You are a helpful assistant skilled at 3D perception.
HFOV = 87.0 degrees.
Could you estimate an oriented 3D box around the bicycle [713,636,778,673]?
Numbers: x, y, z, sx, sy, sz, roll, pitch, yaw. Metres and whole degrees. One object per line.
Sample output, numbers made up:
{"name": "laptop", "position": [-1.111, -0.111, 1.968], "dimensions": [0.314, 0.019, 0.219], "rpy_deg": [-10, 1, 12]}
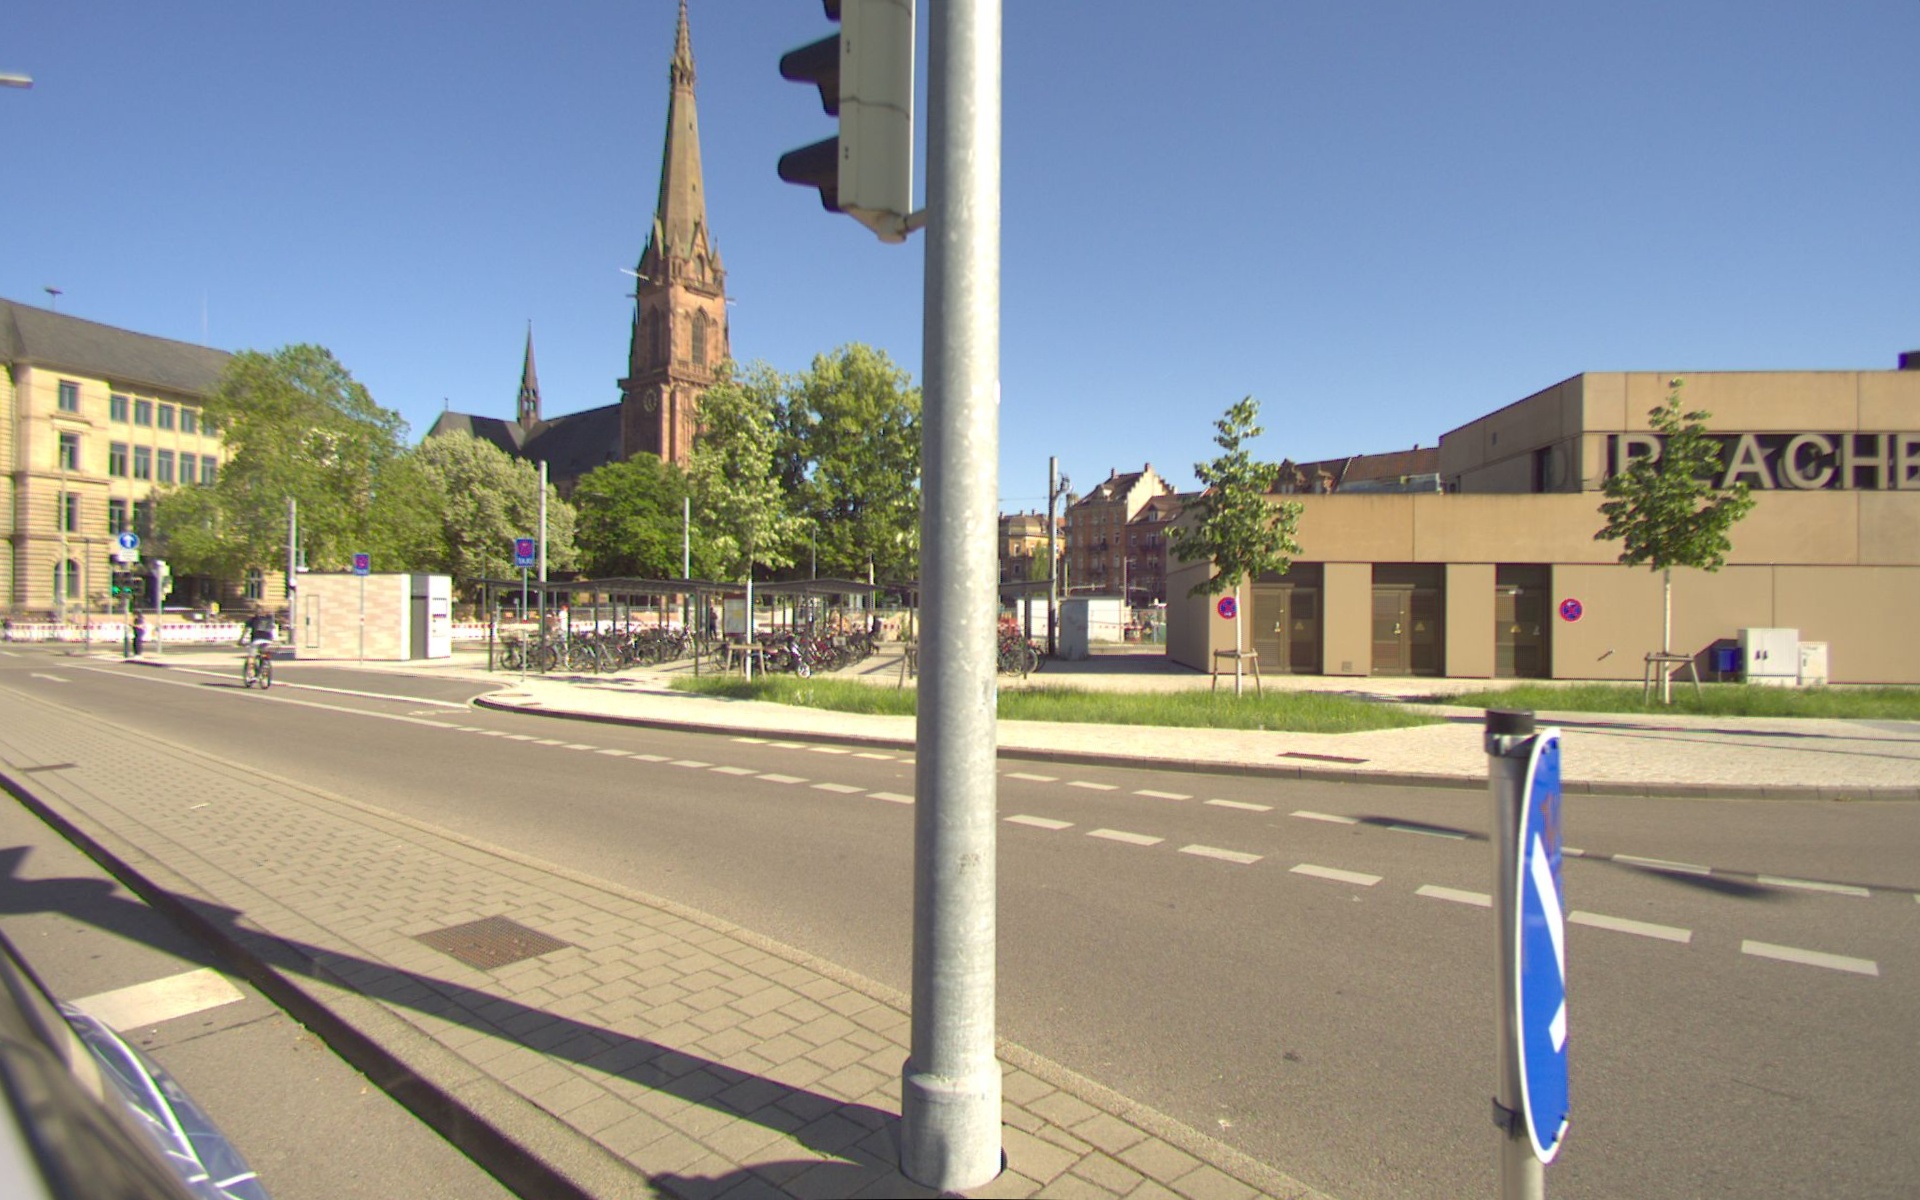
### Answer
{"name": "bicycle", "position": [-6.334, 1.598, 29.926], "dimensions": [1.764, 1.046, 0.567], "rpy_deg": [1, -2, 3]}

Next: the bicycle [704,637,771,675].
{"name": "bicycle", "position": [-6.285, 1.573, 28.638], "dimensions": [1.764, 1.046, 0.567], "rpy_deg": [1, -2, 3]}

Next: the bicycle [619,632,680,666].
{"name": "bicycle", "position": [-9.839, 1.539, 32.087], "dimensions": [1.764, 1.046, 0.567], "rpy_deg": [1, -2, 3]}

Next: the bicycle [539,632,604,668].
{"name": "bicycle", "position": [-11.970, 1.539, 31.206], "dimensions": [1.764, 1.046, 0.567], "rpy_deg": [1, -2, 3]}

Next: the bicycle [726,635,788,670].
{"name": "bicycle", "position": [-6.260, 1.615, 31.215], "dimensions": [1.764, 1.046, 0.567], "rpy_deg": [1, -2, 3]}

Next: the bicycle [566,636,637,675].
{"name": "bicycle", "position": [-10.049, 1.550, 28.377], "dimensions": [1.764, 1.046, 0.567], "rpy_deg": [1, -2, 3]}

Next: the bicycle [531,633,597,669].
{"name": "bicycle", "position": [-11.969, 1.544, 30.588], "dimensions": [1.764, 1.046, 0.567], "rpy_deg": [1, -2, 3]}

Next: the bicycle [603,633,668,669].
{"name": "bicycle", "position": [-9.883, 1.559, 30.845], "dimensions": [1.764, 1.046, 0.567], "rpy_deg": [1, -2, 3]}

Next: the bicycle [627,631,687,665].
{"name": "bicycle", "position": [-9.785, 1.539, 32.687], "dimensions": [1.764, 1.046, 0.567], "rpy_deg": [1, -2, 3]}

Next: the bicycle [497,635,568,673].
{"name": "bicycle", "position": [-12.032, 1.518, 28.512], "dimensions": [1.764, 1.046, 0.567], "rpy_deg": [1, -2, 3]}

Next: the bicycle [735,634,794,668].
{"name": "bicycle", "position": [-6.251, 1.630, 32.409], "dimensions": [1.764, 1.046, 0.567], "rpy_deg": [1, -2, 3]}

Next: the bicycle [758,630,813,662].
{"name": "bicycle", "position": [-5.979, 1.584, 34.774], "dimensions": [1.764, 1.046, 0.567], "rpy_deg": [1, -2, 3]}

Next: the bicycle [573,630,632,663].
{"name": "bicycle", "position": [-11.900, 1.552, 33.687], "dimensions": [1.764, 1.046, 0.567], "rpy_deg": [1, -2, 3]}

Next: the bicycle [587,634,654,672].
{"name": "bicycle", "position": [-9.934, 1.547, 29.630], "dimensions": [1.764, 1.046, 0.567], "rpy_deg": [1, -2, 3]}

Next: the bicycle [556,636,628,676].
{"name": "bicycle", "position": [-10.070, 1.533, 27.728], "dimensions": [1.764, 1.046, 0.567], "rpy_deg": [1, -2, 3]}

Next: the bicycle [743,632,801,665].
{"name": "bicycle", "position": [-6.168, 1.592, 33.281], "dimensions": [1.764, 1.046, 0.567], "rpy_deg": [1, -2, 3]}

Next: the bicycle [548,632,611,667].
{"name": "bicycle", "position": [-11.951, 1.543, 31.822], "dimensions": [1.764, 1.046, 0.567], "rpy_deg": [1, -2, 3]}

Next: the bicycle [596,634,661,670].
{"name": "bicycle", "position": [-9.893, 1.547, 30.230], "dimensions": [1.764, 1.046, 0.567], "rpy_deg": [1, -2, 3]}

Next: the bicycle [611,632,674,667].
{"name": "bicycle", "position": [-9.859, 1.527, 31.448], "dimensions": [1.764, 1.046, 0.567], "rpy_deg": [1, -2, 3]}

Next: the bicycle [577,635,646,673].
{"name": "bicycle", "position": [-9.990, 1.534, 29.020], "dimensions": [1.764, 1.046, 0.567], "rpy_deg": [1, -2, 3]}

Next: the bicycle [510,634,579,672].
{"name": "bicycle", "position": [-12.007, 1.528, 29.268], "dimensions": [1.764, 1.046, 0.567], "rpy_deg": [1, -2, 3]}

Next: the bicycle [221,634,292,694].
{"name": "bicycle", "position": [-14.833, 1.328, 21.323], "dimensions": [1.869, 1.174, 0.738], "rpy_deg": [-1, -3, 40]}

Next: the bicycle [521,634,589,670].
{"name": "bicycle", "position": [-11.979, 1.531, 29.956], "dimensions": [1.764, 1.046, 0.567], "rpy_deg": [1, -2, 3]}

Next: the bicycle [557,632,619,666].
{"name": "bicycle", "position": [-11.939, 1.576, 32.487], "dimensions": [1.764, 1.046, 0.567], "rpy_deg": [1, -2, 3]}

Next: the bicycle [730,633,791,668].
{"name": "bicycle", "position": [-6.260, 1.585, 31.815], "dimensions": [1.764, 1.046, 0.567], "rpy_deg": [1, -2, 3]}

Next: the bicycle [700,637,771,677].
{"name": "bicycle", "position": [-6.084, 1.545, 27.458], "dimensions": [1.764, 1.046, 0.567], "rpy_deg": [1, -2, 3]}

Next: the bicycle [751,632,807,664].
{"name": "bicycle", "position": [-6.068, 1.597, 34.007], "dimensions": [1.764, 1.046, 0.567], "rpy_deg": [1, -2, 3]}

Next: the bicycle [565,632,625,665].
{"name": "bicycle", "position": [-11.924, 1.576, 33.083], "dimensions": [1.764, 1.046, 0.567], "rpy_deg": [1, -2, 3]}

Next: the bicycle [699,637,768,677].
{"name": "bicycle", "position": [-6.277, 1.570, 28.052], "dimensions": [1.764, 1.046, 0.567], "rpy_deg": [1, -2, 3]}

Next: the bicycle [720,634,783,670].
{"name": "bicycle", "position": [-6.290, 1.561, 30.601], "dimensions": [1.764, 1.046, 0.567], "rpy_deg": [1, -2, 3]}

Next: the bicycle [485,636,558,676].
{"name": "bicycle", "position": [-12.061, 1.538, 27.860], "dimensions": [1.764, 1.046, 0.567], "rpy_deg": [1, -2, 3]}

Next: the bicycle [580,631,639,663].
{"name": "bicycle", "position": [-11.862, 1.579, 34.278], "dimensions": [1.764, 1.046, 0.567], "rpy_deg": [1, -2, 3]}
